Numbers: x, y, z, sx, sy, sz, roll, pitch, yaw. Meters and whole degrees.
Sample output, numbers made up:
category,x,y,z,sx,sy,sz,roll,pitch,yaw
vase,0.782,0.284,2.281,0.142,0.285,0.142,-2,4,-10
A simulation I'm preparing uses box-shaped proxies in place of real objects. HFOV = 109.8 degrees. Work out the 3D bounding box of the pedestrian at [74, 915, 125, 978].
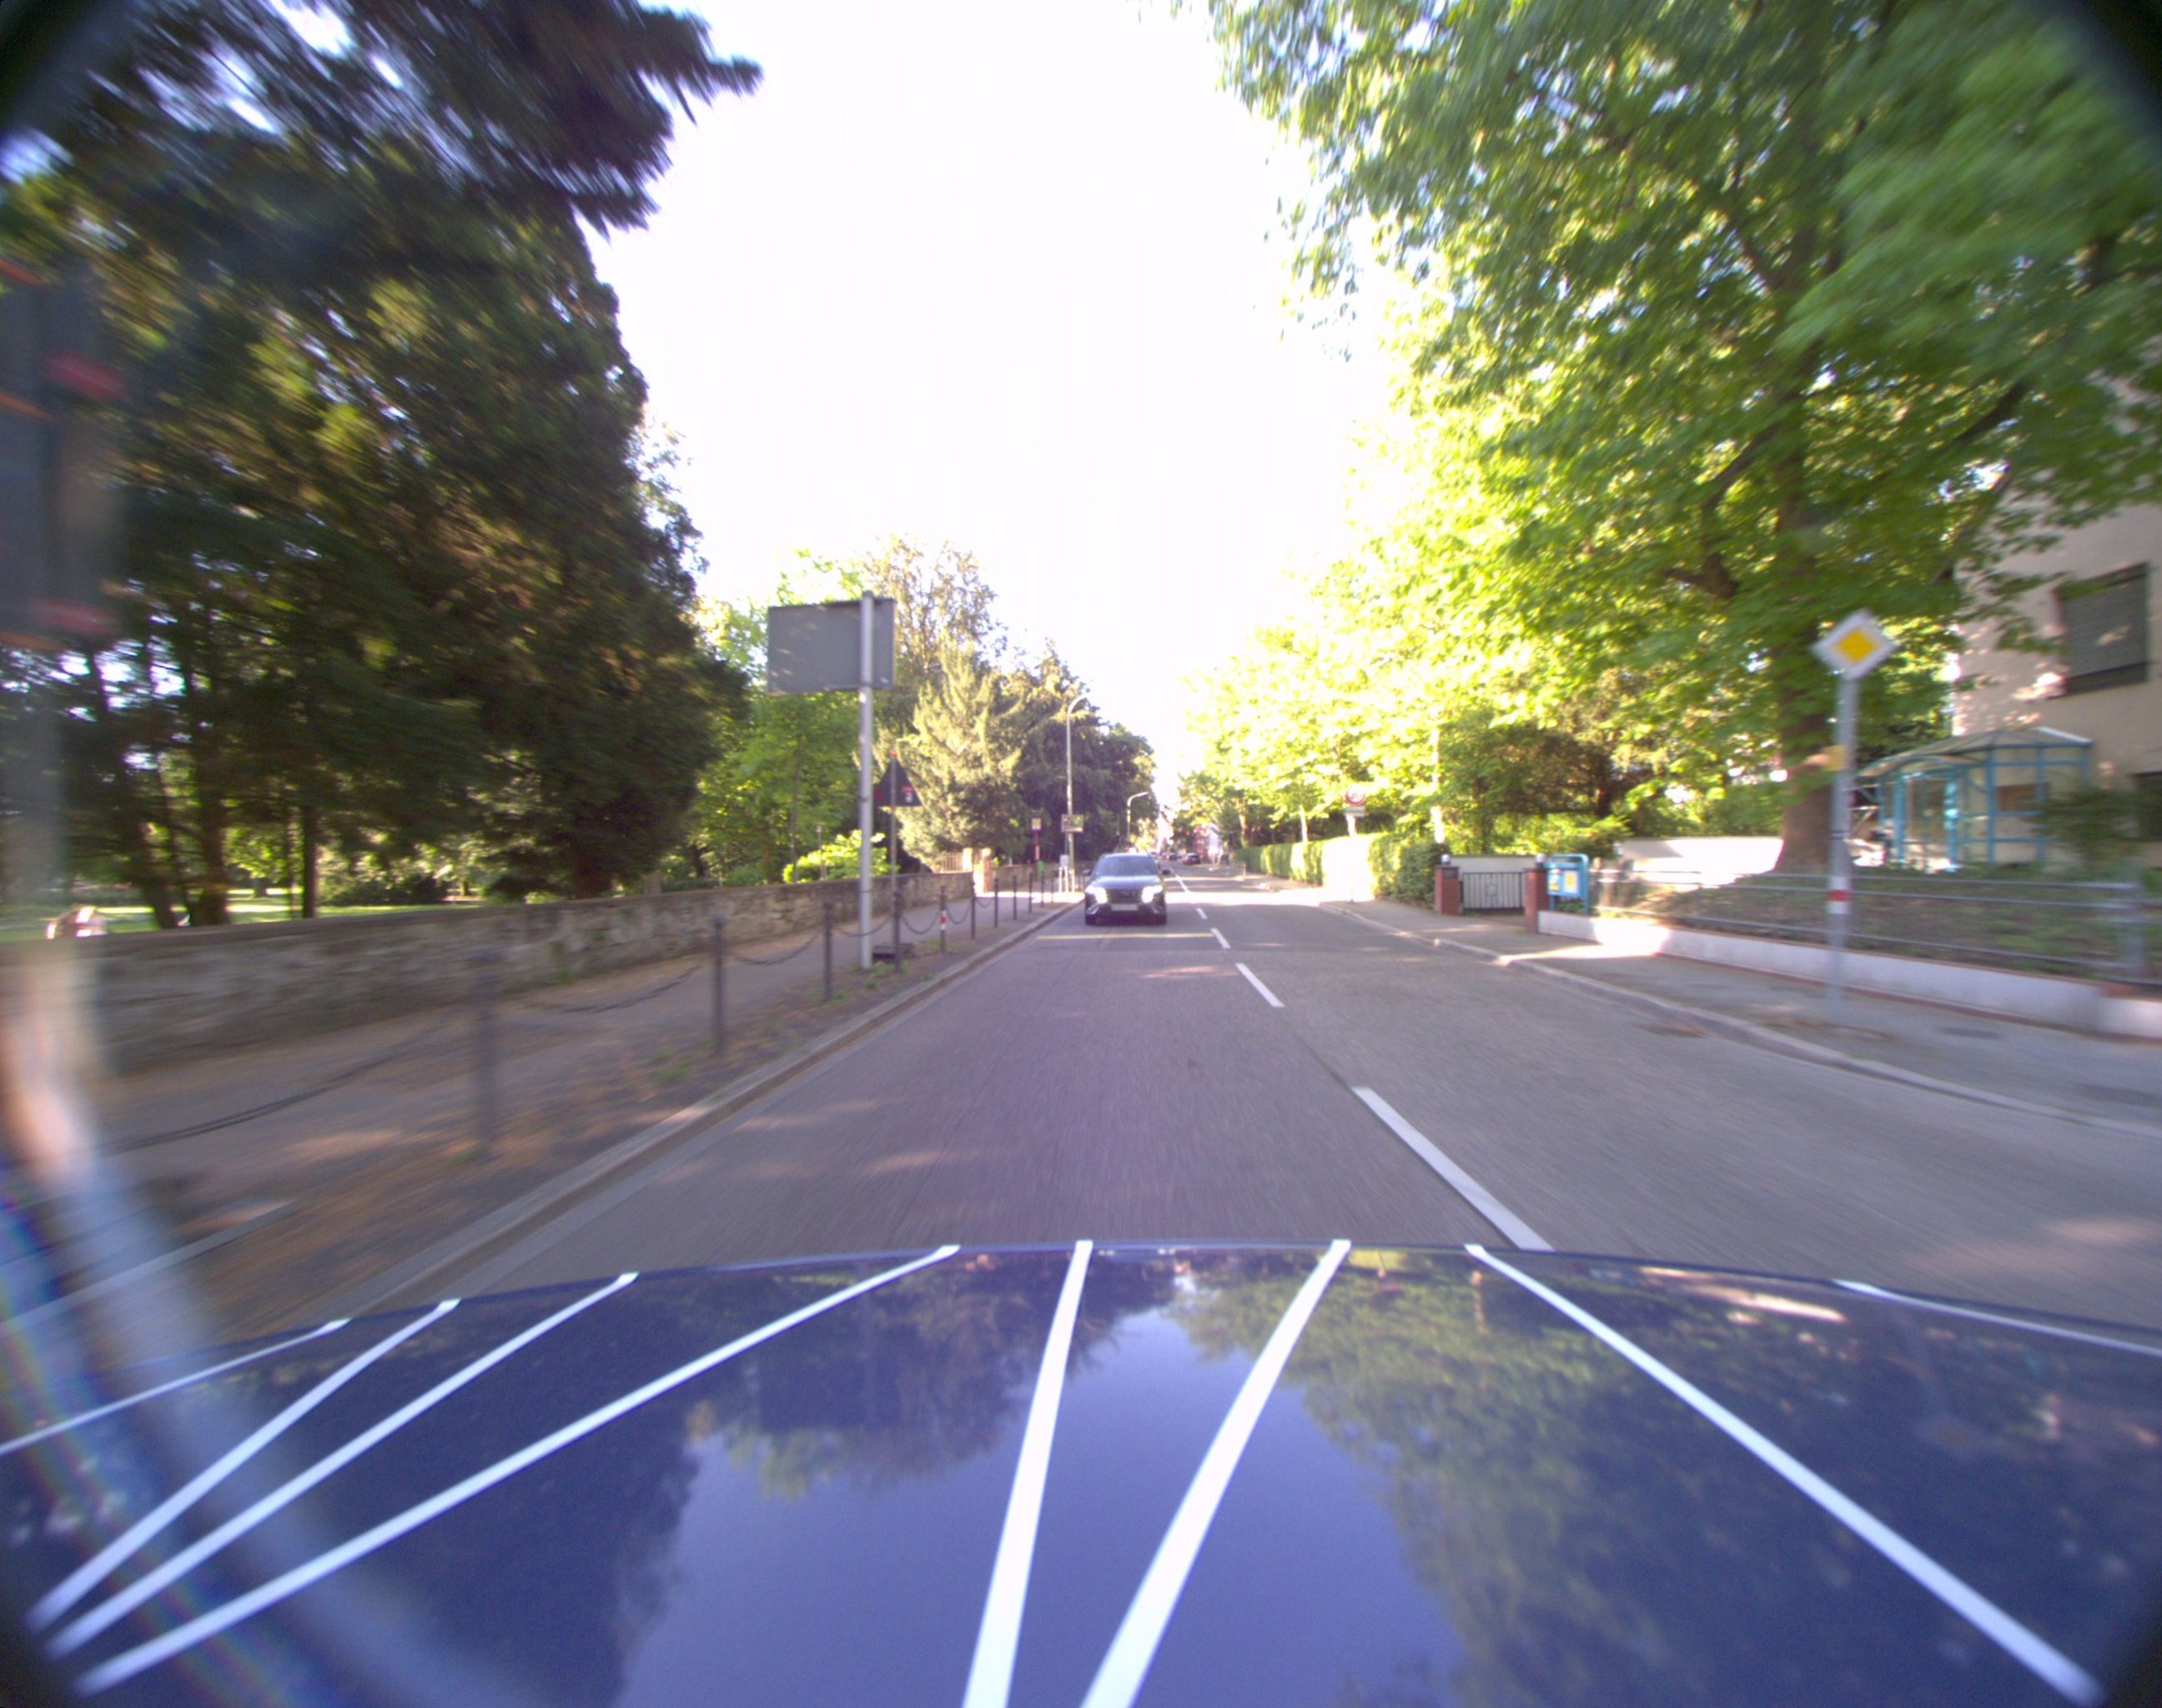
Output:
category,x,y,z,sx,sy,sz,roll,pitch,yaw
pedestrian,-28.182,2.642,21.826,0.591,1.720,0.598,-3,1,6

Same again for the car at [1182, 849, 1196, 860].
category,x,y,z,sx,sy,sz,roll,pitch,yaw
car,15.571,0.057,109.516,1.627,1.426,3.560,-3,0,4

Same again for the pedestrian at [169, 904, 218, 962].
category,x,y,z,sx,sy,sz,roll,pitch,yaw
pedestrian,-26.467,2.343,22.673,0.616,1.631,0.636,-3,1,7

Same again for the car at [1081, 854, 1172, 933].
category,x,y,z,sx,sy,sz,roll,pitch,yaw
car,1.145,0.861,18.556,1.936,1.676,4.433,-1,0,4

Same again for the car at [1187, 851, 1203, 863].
category,x,y,z,sx,sy,sz,roll,pitch,yaw
car,14.832,0.356,98.996,1.689,1.425,3.617,-4,0,4

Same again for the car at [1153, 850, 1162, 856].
category,x,y,z,sx,sy,sz,roll,pitch,yaw
car,18.649,-0.192,186.440,1.823,1.375,3.935,2,1,1

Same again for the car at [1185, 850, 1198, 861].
category,x,y,z,sx,sy,sz,roll,pitch,yaw
car,15.203,0.165,104.552,1.627,1.537,3.323,-1,0,4

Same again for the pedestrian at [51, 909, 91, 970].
category,x,y,z,sx,sy,sz,roll,pitch,yaw
pedestrian,-27.911,2.353,20.990,0.758,1.609,0.567,-2,1,34

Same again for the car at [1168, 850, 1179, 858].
category,x,y,z,sx,sy,sz,roll,pitch,yaw
car,18.903,-0.049,155.624,1.823,1.375,3.935,2,1,1

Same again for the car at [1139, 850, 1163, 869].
category,x,y,z,sx,sy,sz,roll,pitch,yaw
car,6.613,0.503,71.733,1.997,1.630,4.002,-3,0,7
